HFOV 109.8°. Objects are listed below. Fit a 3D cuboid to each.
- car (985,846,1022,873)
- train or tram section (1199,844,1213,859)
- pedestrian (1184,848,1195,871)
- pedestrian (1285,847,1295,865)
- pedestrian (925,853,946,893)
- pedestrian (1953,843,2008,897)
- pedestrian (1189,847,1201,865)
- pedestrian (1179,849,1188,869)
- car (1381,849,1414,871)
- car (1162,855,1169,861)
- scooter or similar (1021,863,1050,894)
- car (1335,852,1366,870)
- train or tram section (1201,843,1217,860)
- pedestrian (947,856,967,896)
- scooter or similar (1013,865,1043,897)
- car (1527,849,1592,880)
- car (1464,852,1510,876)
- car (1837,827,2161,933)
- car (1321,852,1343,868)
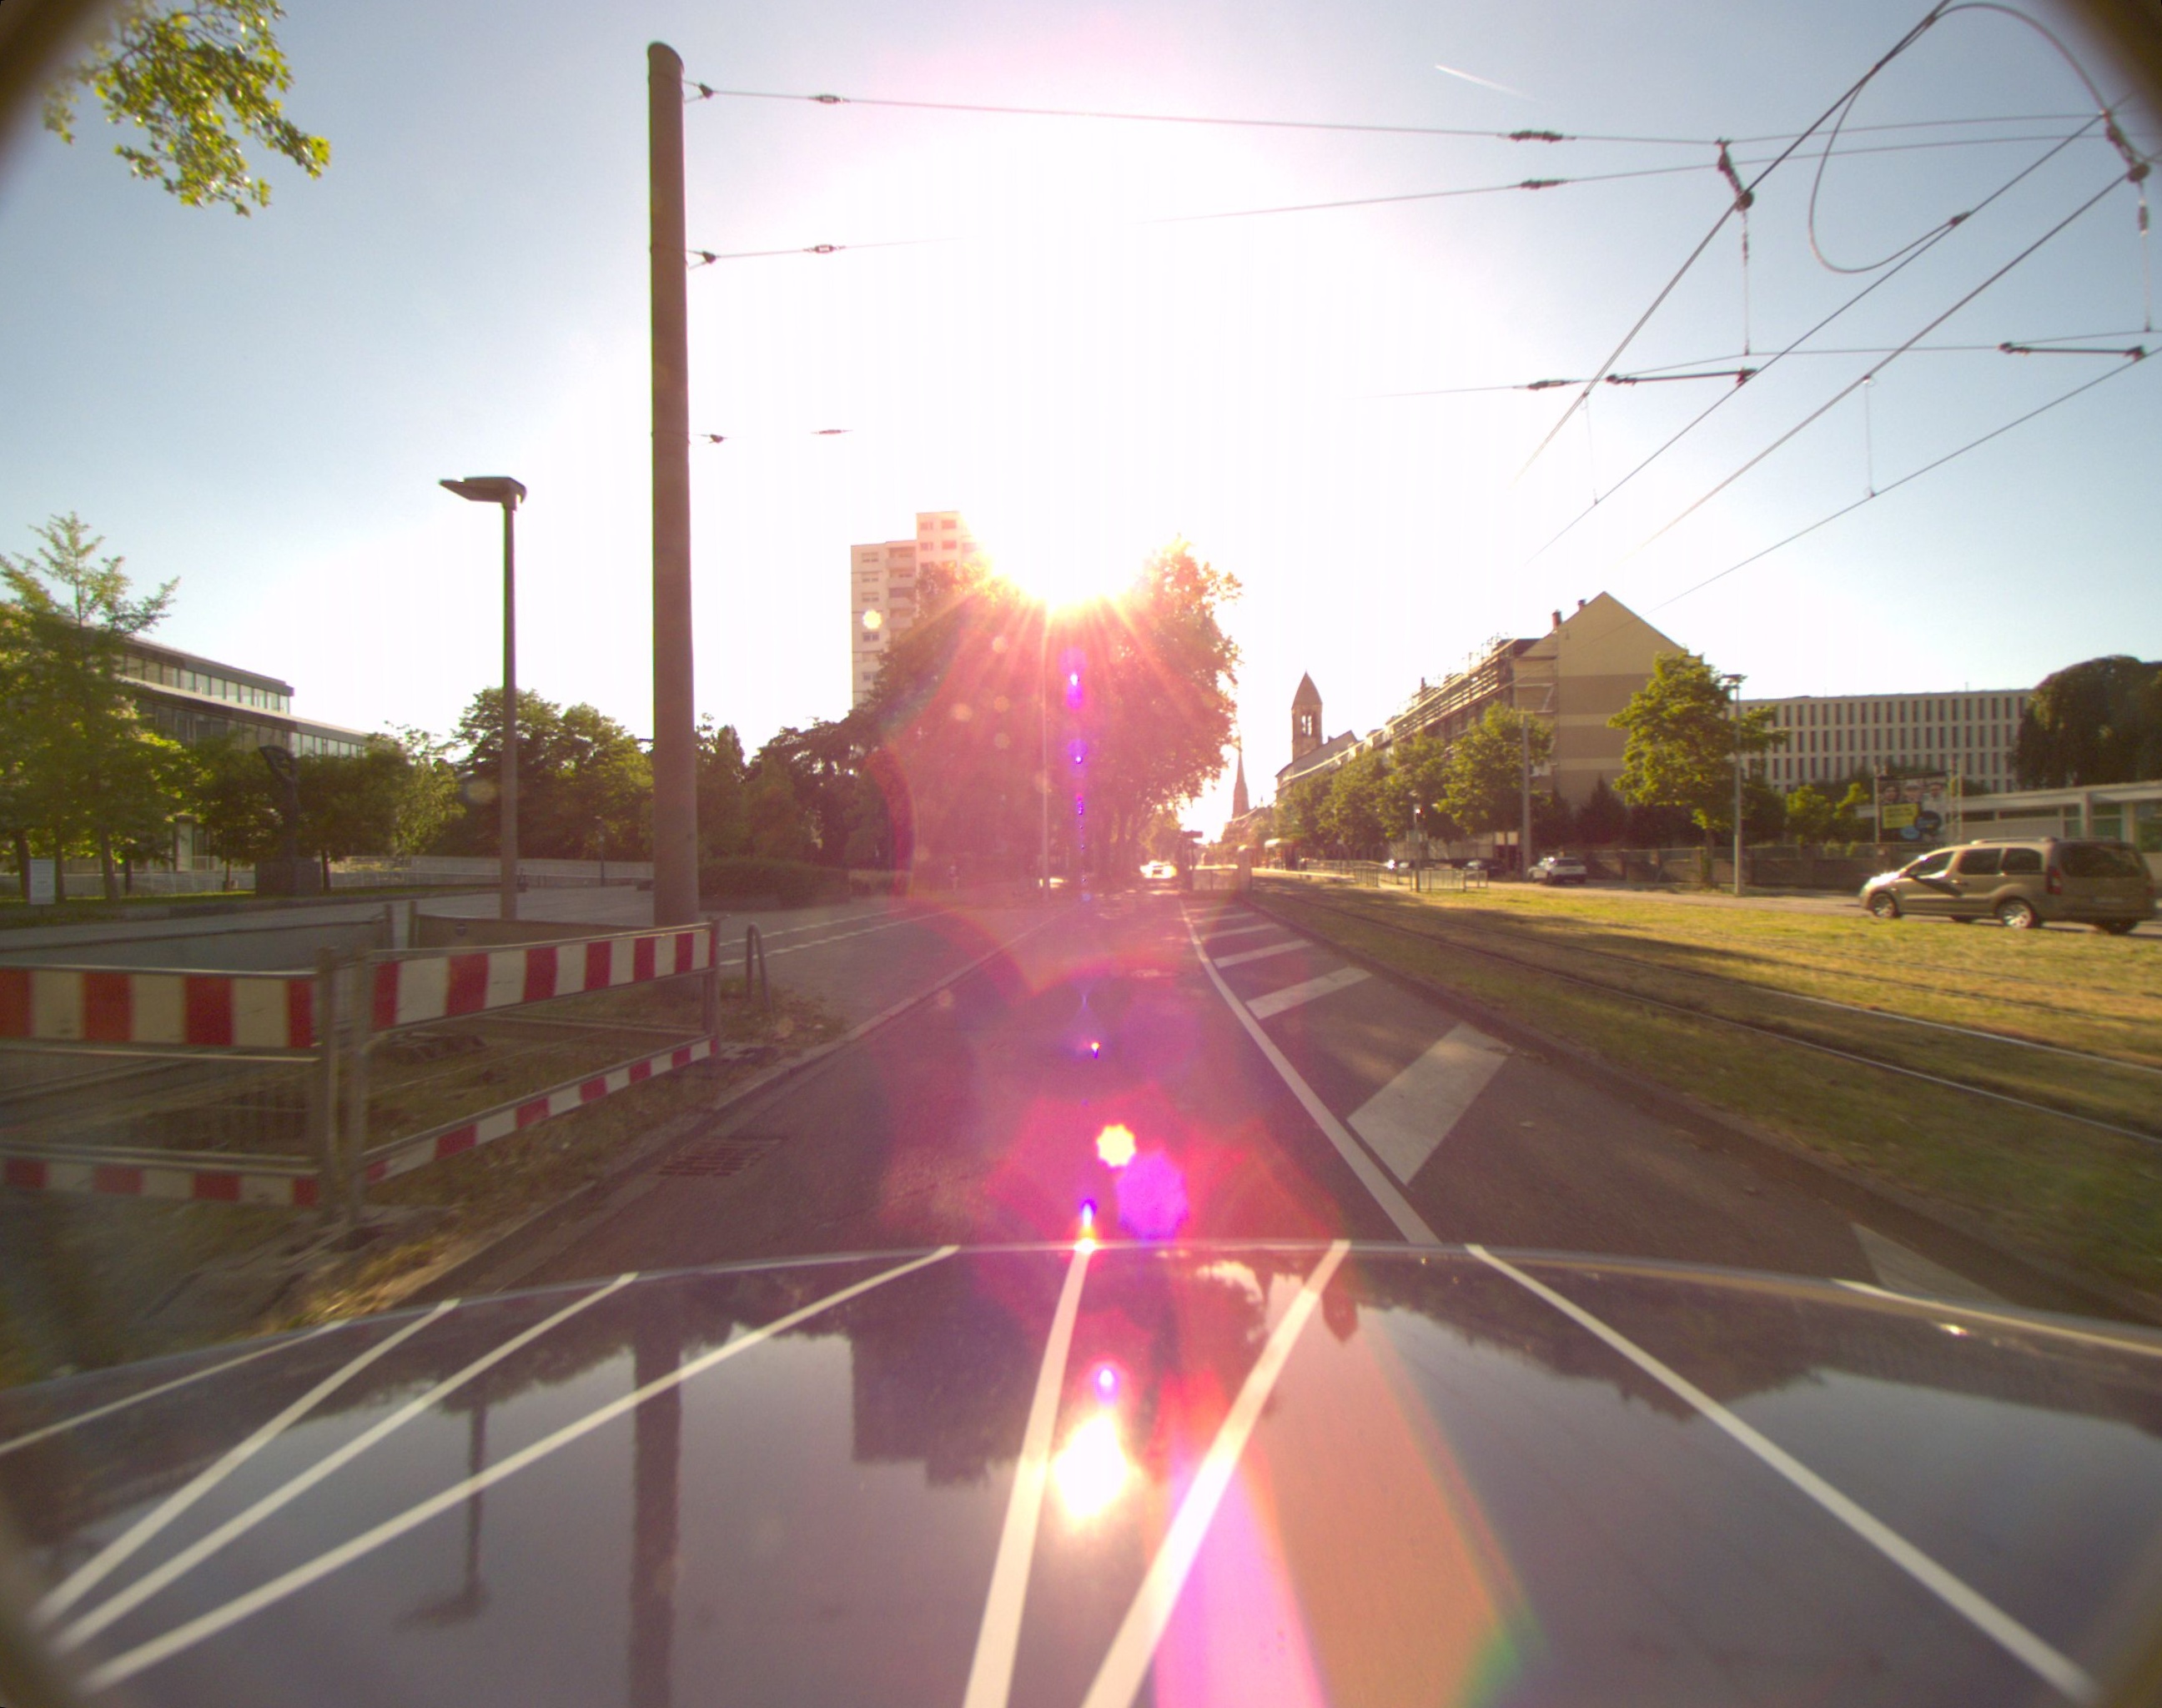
[{"bbox_3d":[-7.545,0.534,74.711,1.997,2.484,6.350,-3,0,9],"label":"car"},{"bbox_3d":[31.519,-0.582,192.332,2.875,3.654,14.568,-1,0,7],"label":"train or tram section"},{"bbox_3d":[8.514,0.429,59.443,0.758,1.680,0.679,-3,0,7],"label":"pedestrian"},{"bbox_3d":[19.663,0.167,71.559,0.680,1.680,0.655,-3,0,5],"label":"pedestrian"},{"bbox_3d":[-6.116,0.798,31.891,0.651,1.647,0.783,0,1,6],"label":"pedestrian"},{"bbox_3d":[27.949,0.495,23.611,0.726,1.638,0.813,0,1,0],"label":"pedestrian"},{"bbox_3d":[11.339,0.190,75.355,0.911,1.712,0.630,-3,0,-27],"label":"pedestrian"},{"bbox_3d":[9.022,0.424,66.822,0.680,1.680,0.895,-3,0,7],"label":"pedestrian"},{"bbox_3d":[31.333,0.602,75.302,1.997,2.002,4.002,-3,0,8],"label":"car"},{"bbox_3d":[21.921,1.147,196.864,1.636,1.491,4.002,1,0,6],"label":"car"},{"bbox_3d":[-1.851,1.003,31.035,1.054,1.237,0.842,0,1,9],"label":"scooter or similar"},{"bbox_3d":[23.019,0.610,65.040,1.609,1.399,3.853,-3,0,7],"label":"car"},{"bbox_3d":[29.832,-0.562,177.859,2.875,3.664,14.568,-1,0,7],"label":"train or tram section"},{"bbox_3d":[-5.184,0.892,31.727,0.629,1.647,0.740,0,1,6],"label":"pedestrian"},{"bbox_3d":[-2.100,1.074,30.166,1.054,1.237,0.842,0,1,9],"label":"scooter or similar"},{"bbox_3d":[27.585,0.574,43.932,1.724,1.577,4.068,-3,0,11],"label":"car"},{"bbox_3d":[29.232,0.685,54.832,1.724,1.577,4.068,-3,0,11],"label":"car"},{"bbox_3d":[19.001,0.476,16.013,1.943,1.907,4.475,1,0,6],"label":"car"},{"bbox_3d":[34.528,0.793,104.581,1.944,2.153,3.787,-3,0,6],"label":"car"}]
